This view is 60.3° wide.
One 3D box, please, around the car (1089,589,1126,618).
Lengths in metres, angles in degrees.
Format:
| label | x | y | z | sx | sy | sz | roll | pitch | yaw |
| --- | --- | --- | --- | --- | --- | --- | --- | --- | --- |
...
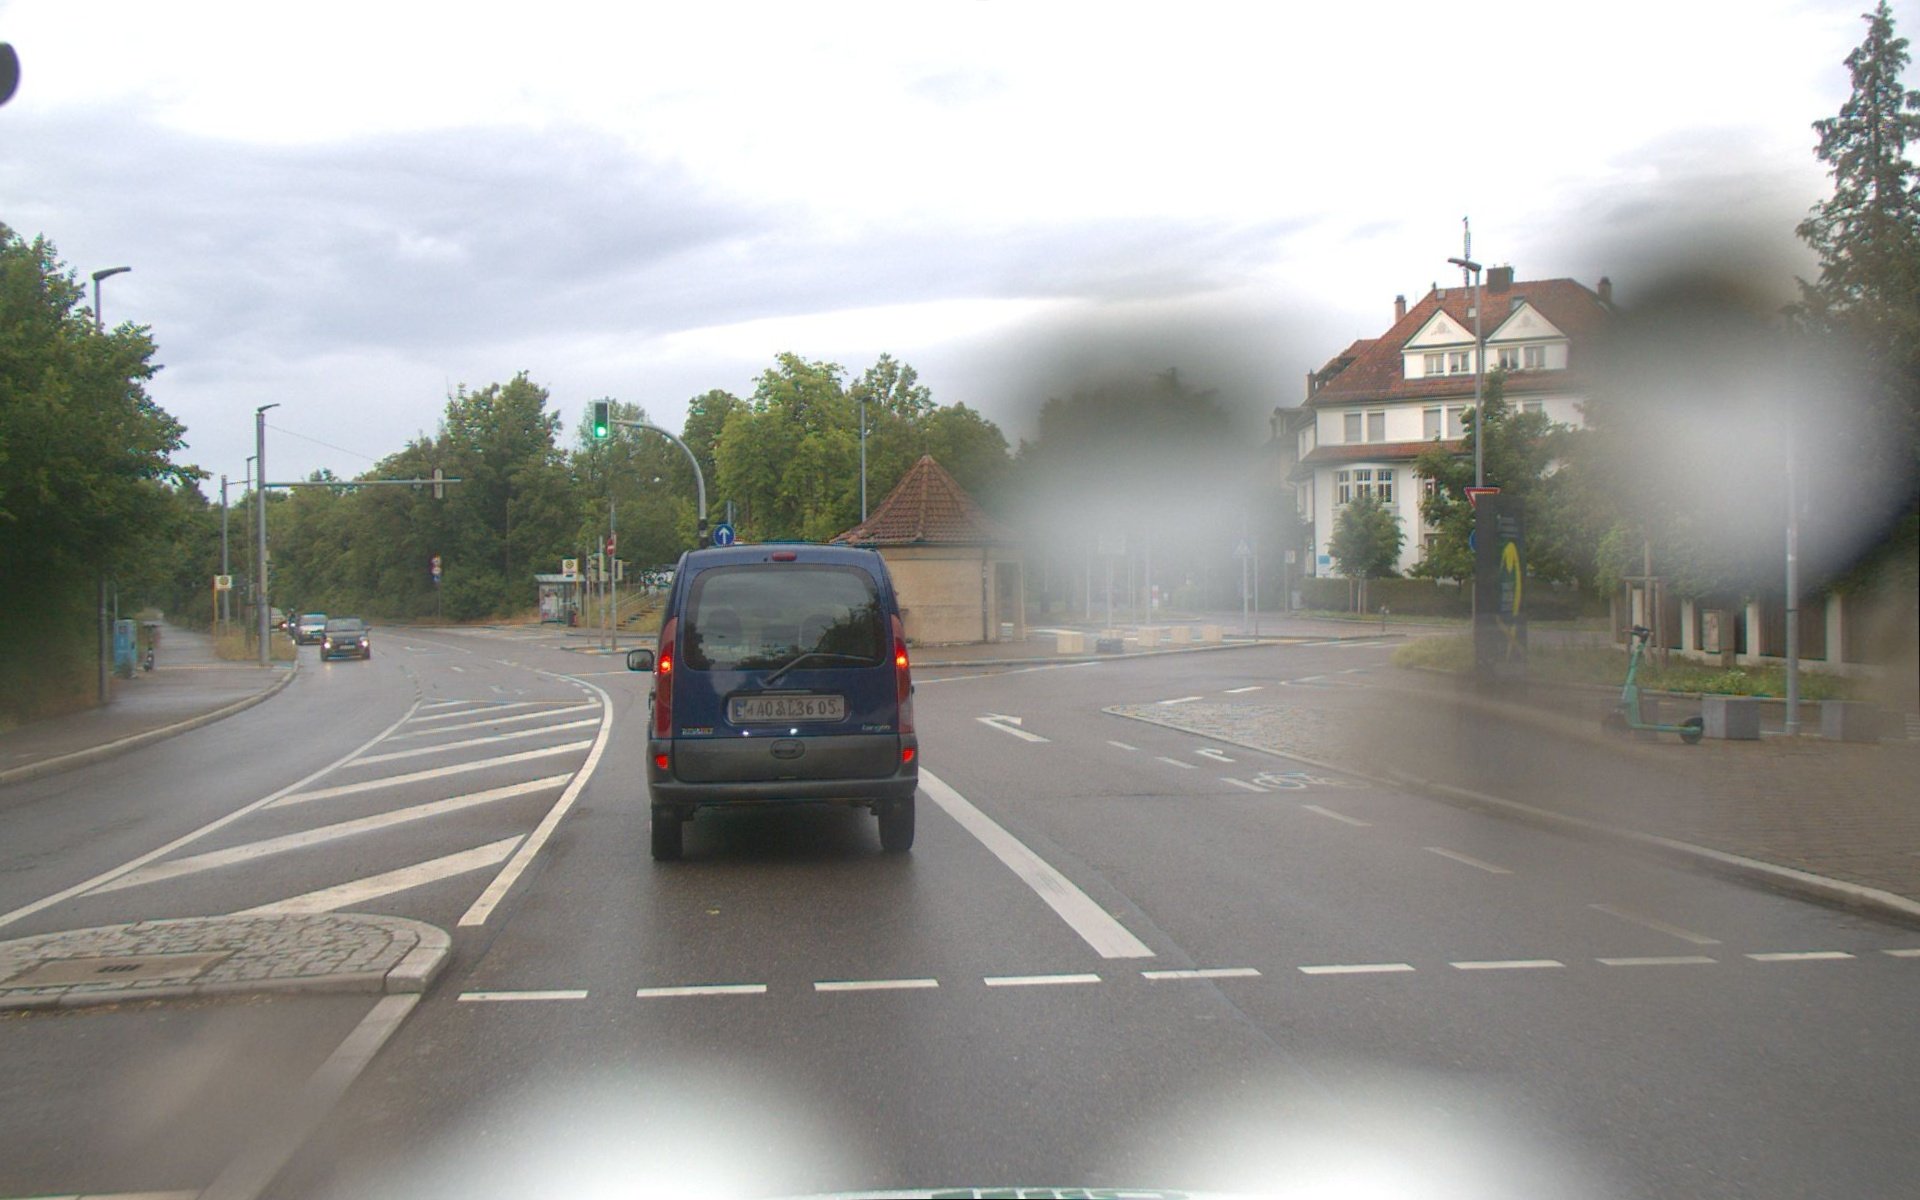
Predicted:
| label | x | y | z | sx | sy | sz | roll | pitch | yaw |
| --- | --- | --- | --- | --- | --- | --- | --- | --- | --- |
| car | 10.704 | 0.223 | 120.215 | 1.955 | 2.049 | 3.994 | -1 | 0 | -6 |

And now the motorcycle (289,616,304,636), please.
| label | x | y | z | sx | sy | sz | roll | pitch | yaw |
| --- | --- | --- | --- | --- | --- | --- | --- | --- | --- |
| motorcycle | -37.132 | 1.448 | 92.529 | 0.587 | 1.069 | 1.981 | -2 | 1 | -27 |

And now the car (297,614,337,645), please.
| label | x | y | z | sx | sy | sz | roll | pitch | yaw |
| --- | --- | --- | --- | --- | --- | --- | --- | --- | --- |
| car | -31.197 | 1.413 | 80.296 | 1.716 | 1.375 | 4.182 | -3 | 1 | -21 |

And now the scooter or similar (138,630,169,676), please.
| label | x | y | z | sx | sy | sz | roll | pitch | yaw |
| --- | --- | --- | --- | --- | --- | --- | --- | --- | --- |
| scooter or similar | -22.584 | 1.481 | 46.328 | 0.509 | 1.233 | 1.462 | -1 | 0 | -16 |

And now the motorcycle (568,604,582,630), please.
| label | x | y | z | sx | sy | sz | roll | pitch | yaw |
| --- | --- | --- | --- | --- | --- | --- | --- | --- | --- |
| motorcycle | -19.857 | 0.871 | 85.386 | 0.578 | 1.311 | 1.534 | -2 | 0 | -10 |

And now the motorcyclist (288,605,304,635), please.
| label | x | y | z | sx | sy | sz | roll | pitch | yaw |
| --- | --- | --- | --- | --- | --- | --- | --- | --- | --- |
| motorcyclist | -37.173 | 1.124 | 92.594 | 0.737 | 1.660 | 0.919 | -2 | 0 | -27 |

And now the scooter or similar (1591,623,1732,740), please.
| label | x | y | z | sx | sy | sz | roll | pitch | yaw |
| --- | --- | --- | --- | --- | --- | --- | --- | --- | --- |
| scooter or similar | 7.625 | 0.883 | 17.997 | 1.323 | 1.228 | 0.524 | 2 | -1 | -8 |

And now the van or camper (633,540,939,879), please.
| label | x | y | z | sx | sy | sz | roll | pitch | yaw |
| --- | --- | --- | --- | --- | --- | --- | --- | --- | --- |
| van or camper | -1.218 | 0.605 | 11.228 | 1.680 | 1.858 | 3.993 | -1 | 0 | -8 |

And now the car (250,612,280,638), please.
| label | x | y | z | sx | sy | sz | roll | pitch | yaw |
| --- | --- | --- | --- | --- | --- | --- | --- | --- | --- |
| car | -46.258 | 1.654 | 110.158 | 1.765 | 1.608 | 4.529 | -2 | 1 | -23 |

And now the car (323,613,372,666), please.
| label | x | y | z | sx | sy | sz | roll | pitch | yaw |
| --- | --- | --- | --- | --- | --- | --- | --- | --- | --- |
| car | -22.114 | 1.402 | 59.747 | 1.553 | 1.761 | 3.751 | -3 | 0 | -21 |

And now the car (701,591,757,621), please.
| label | x | y | z | sx | sy | sz | roll | pitch | yaw |
| --- | --- | --- | --- | --- | --- | --- | --- | --- | --- |
| car | -12.319 | 0.348 | 88.012 | 1.967 | 1.506 | 4.254 | 1 | -1 | -23 |

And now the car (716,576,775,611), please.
| label | x | y | z | sx | sy | sz | roll | pitch | yaw |
| --- | --- | --- | --- | --- | --- | --- | --- | --- | --- |
| car | -10.895 | -0.317 | 83.814 | 1.966 | 1.691 | 3.972 | 1 | 0 | -23 |
